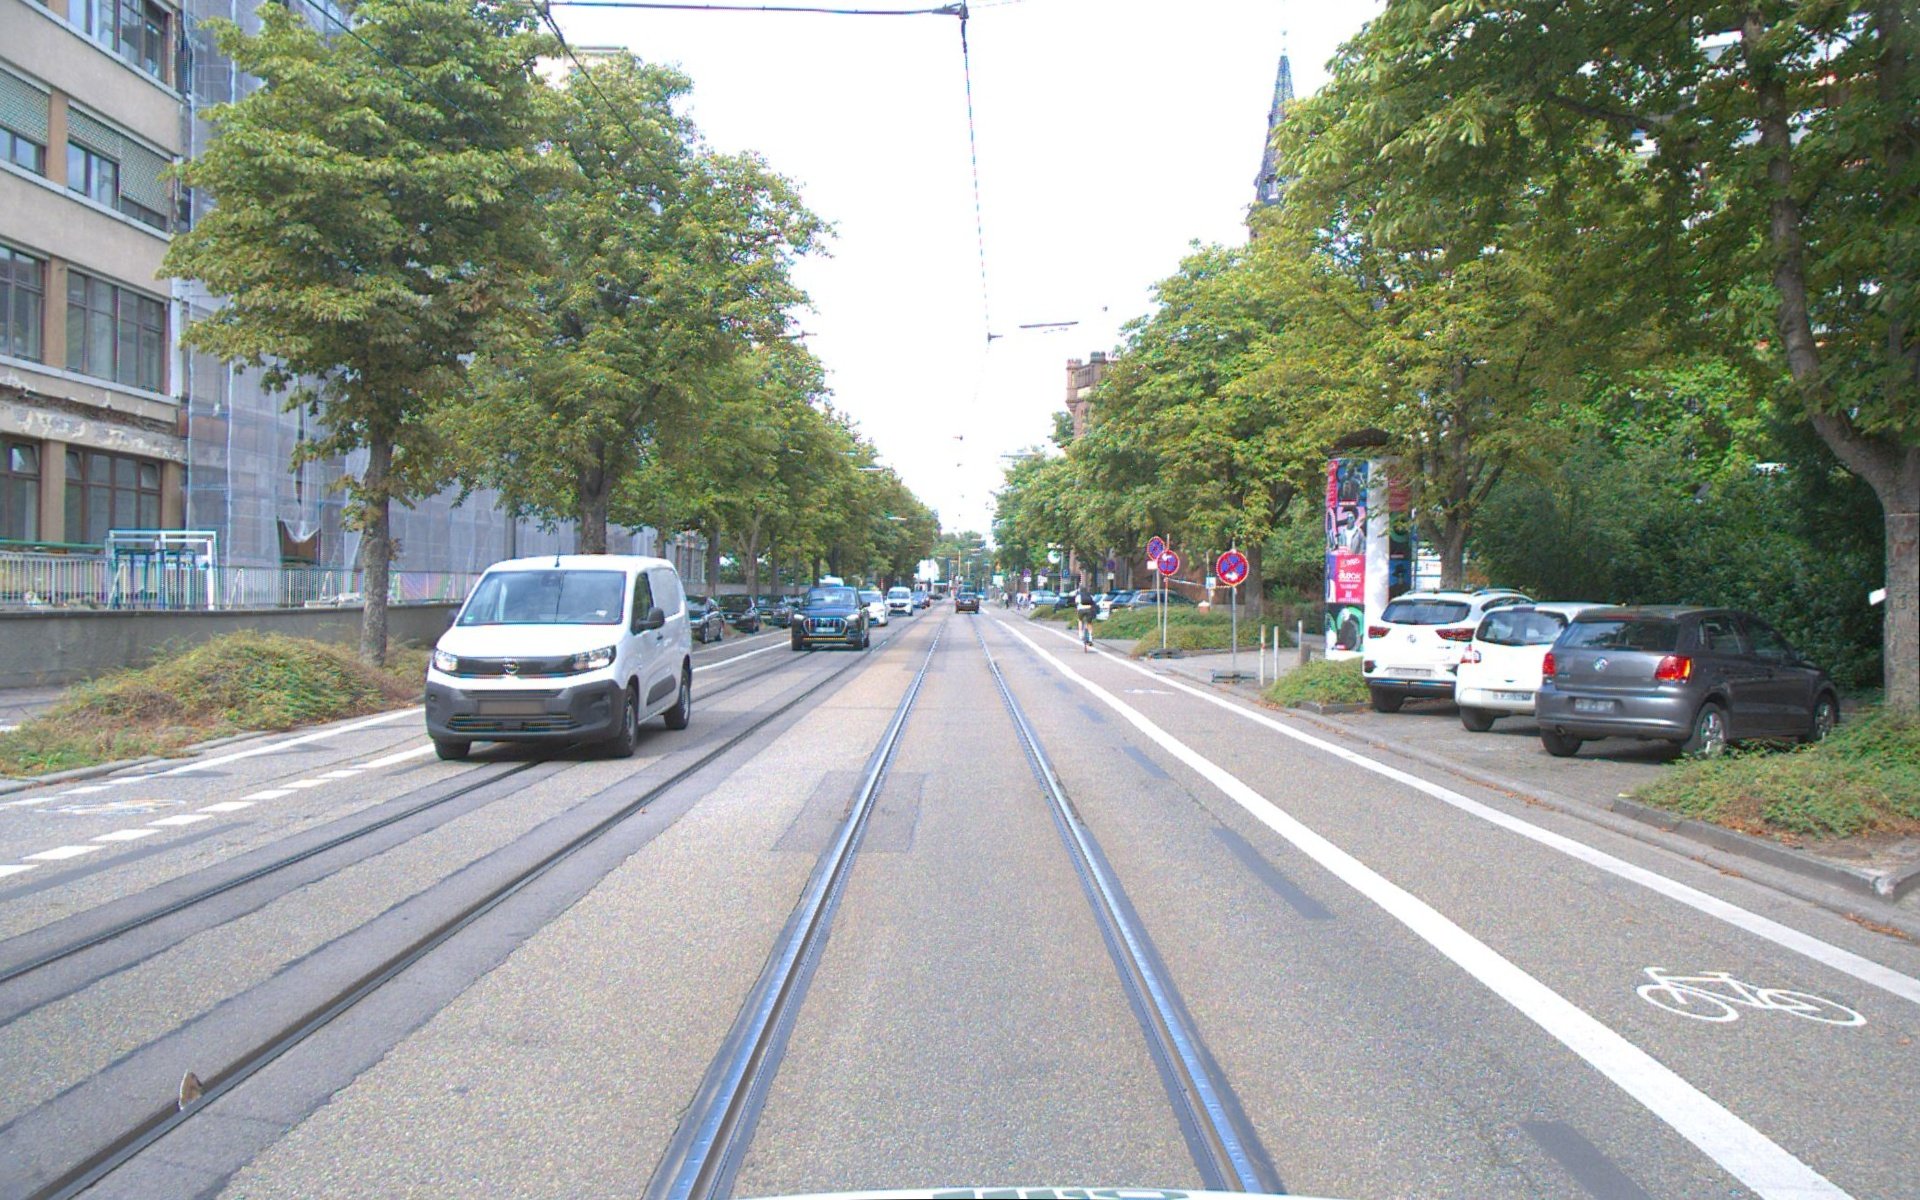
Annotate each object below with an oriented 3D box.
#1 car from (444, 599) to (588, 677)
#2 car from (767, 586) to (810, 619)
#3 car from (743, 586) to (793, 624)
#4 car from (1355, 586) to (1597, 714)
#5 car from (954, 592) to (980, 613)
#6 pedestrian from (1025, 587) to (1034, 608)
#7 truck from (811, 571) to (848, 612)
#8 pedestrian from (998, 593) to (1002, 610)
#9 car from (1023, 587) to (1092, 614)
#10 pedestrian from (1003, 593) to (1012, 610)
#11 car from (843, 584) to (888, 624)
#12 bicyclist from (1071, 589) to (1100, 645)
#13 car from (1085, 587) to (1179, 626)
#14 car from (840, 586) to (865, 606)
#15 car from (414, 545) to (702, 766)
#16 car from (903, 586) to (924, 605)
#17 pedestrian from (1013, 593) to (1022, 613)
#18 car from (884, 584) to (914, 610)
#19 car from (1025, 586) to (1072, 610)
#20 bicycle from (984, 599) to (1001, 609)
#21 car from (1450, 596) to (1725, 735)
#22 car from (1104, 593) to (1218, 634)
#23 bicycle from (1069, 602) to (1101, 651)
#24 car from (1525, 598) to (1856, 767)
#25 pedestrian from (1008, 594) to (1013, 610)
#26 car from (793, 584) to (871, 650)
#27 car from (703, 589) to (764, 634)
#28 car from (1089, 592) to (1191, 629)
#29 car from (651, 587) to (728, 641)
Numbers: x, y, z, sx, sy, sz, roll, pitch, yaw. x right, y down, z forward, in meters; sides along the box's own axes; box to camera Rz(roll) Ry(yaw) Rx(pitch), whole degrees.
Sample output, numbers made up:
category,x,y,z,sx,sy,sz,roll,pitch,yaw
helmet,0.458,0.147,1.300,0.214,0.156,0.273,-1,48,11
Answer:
category,x,y,z,sx,sy,sz,roll,pitch,yaw
car,-8.585,0.694,32.296,1.766,1.398,4.030,0,0,-1
car,-8.438,0.114,81.544,1.766,1.611,4.030,0,0,-1
car,-8.392,0.194,72.585,1.766,1.611,4.030,0,0,-1
car,7.067,0.642,22.527,3.414,1.600,1.538,1,0,-39
car,0.506,0.189,121.312,1.757,1.448,3.999,1,0,-1
pedestrian,5.741,-0.217,136.621,0.711,1.674,0.767,2,0,1
truck,-8.351,-0.541,105.979,2.029,2.513,4.898,0,0,-1
pedestrian,4.942,0.210,204.175,0.507,2.049,0.480,1,0,3
car,5.831,0.031,99.068,3.907,1.534,1.884,1,0,-3
pedestrian,4.782,0.130,166.739,0.711,1.674,0.767,2,0,10
car,-4.063,0.147,71.606,1.766,1.650,4.484,0,0,-1
bicyclist,3.400,0.461,44.948,0.644,1.489,1.178,1,0,-1
car,7.612,0.269,73.449,3.907,1.656,1.884,1,0,-3
car,-8.558,-0.330,131.728,1.766,1.611,4.030,0,0,-1
car,-3.749,0.456,16.236,1.766,1.855,4.484,0,0,-1
car,-3.993,-0.414,143.235,1.766,1.650,4.484,0,0,-1
pedestrian,5.040,0.273,145.540,0.711,1.674,0.767,2,0,1
car,-3.860,-0.189,105.149,1.766,1.650,4.484,0,0,-1
car,7.752,-0.192,145.264,3.907,1.944,1.999,2,0,-3
bicycle,3.278,0.411,167.228,1.684,1.009,0.659,2,0,8
car,7.417,0.714,19.430,3.414,1.468,1.538,1,0,-39
car,7.395,0.485,61.142,3.907,1.449,1.884,1,0,-3
bicycle,3.380,0.701,44.930,0.644,1.270,2.124,2,0,-1
car,7.280,0.742,16.378,3.501,1.468,1.601,1,0,-39
pedestrian,6.341,0.220,207.338,0.507,2.049,0.480,1,0,3
car,-3.349,0.417,44.035,1.766,1.650,4.484,0,0,-1
car,-8.499,0.409,62.348,1.766,1.611,4.030,0,0,-1
car,7.391,0.418,68.043,3.907,1.449,1.884,1,0,-3
car,-8.397,0.408,51.615,1.766,1.611,4.030,0,0,-1
